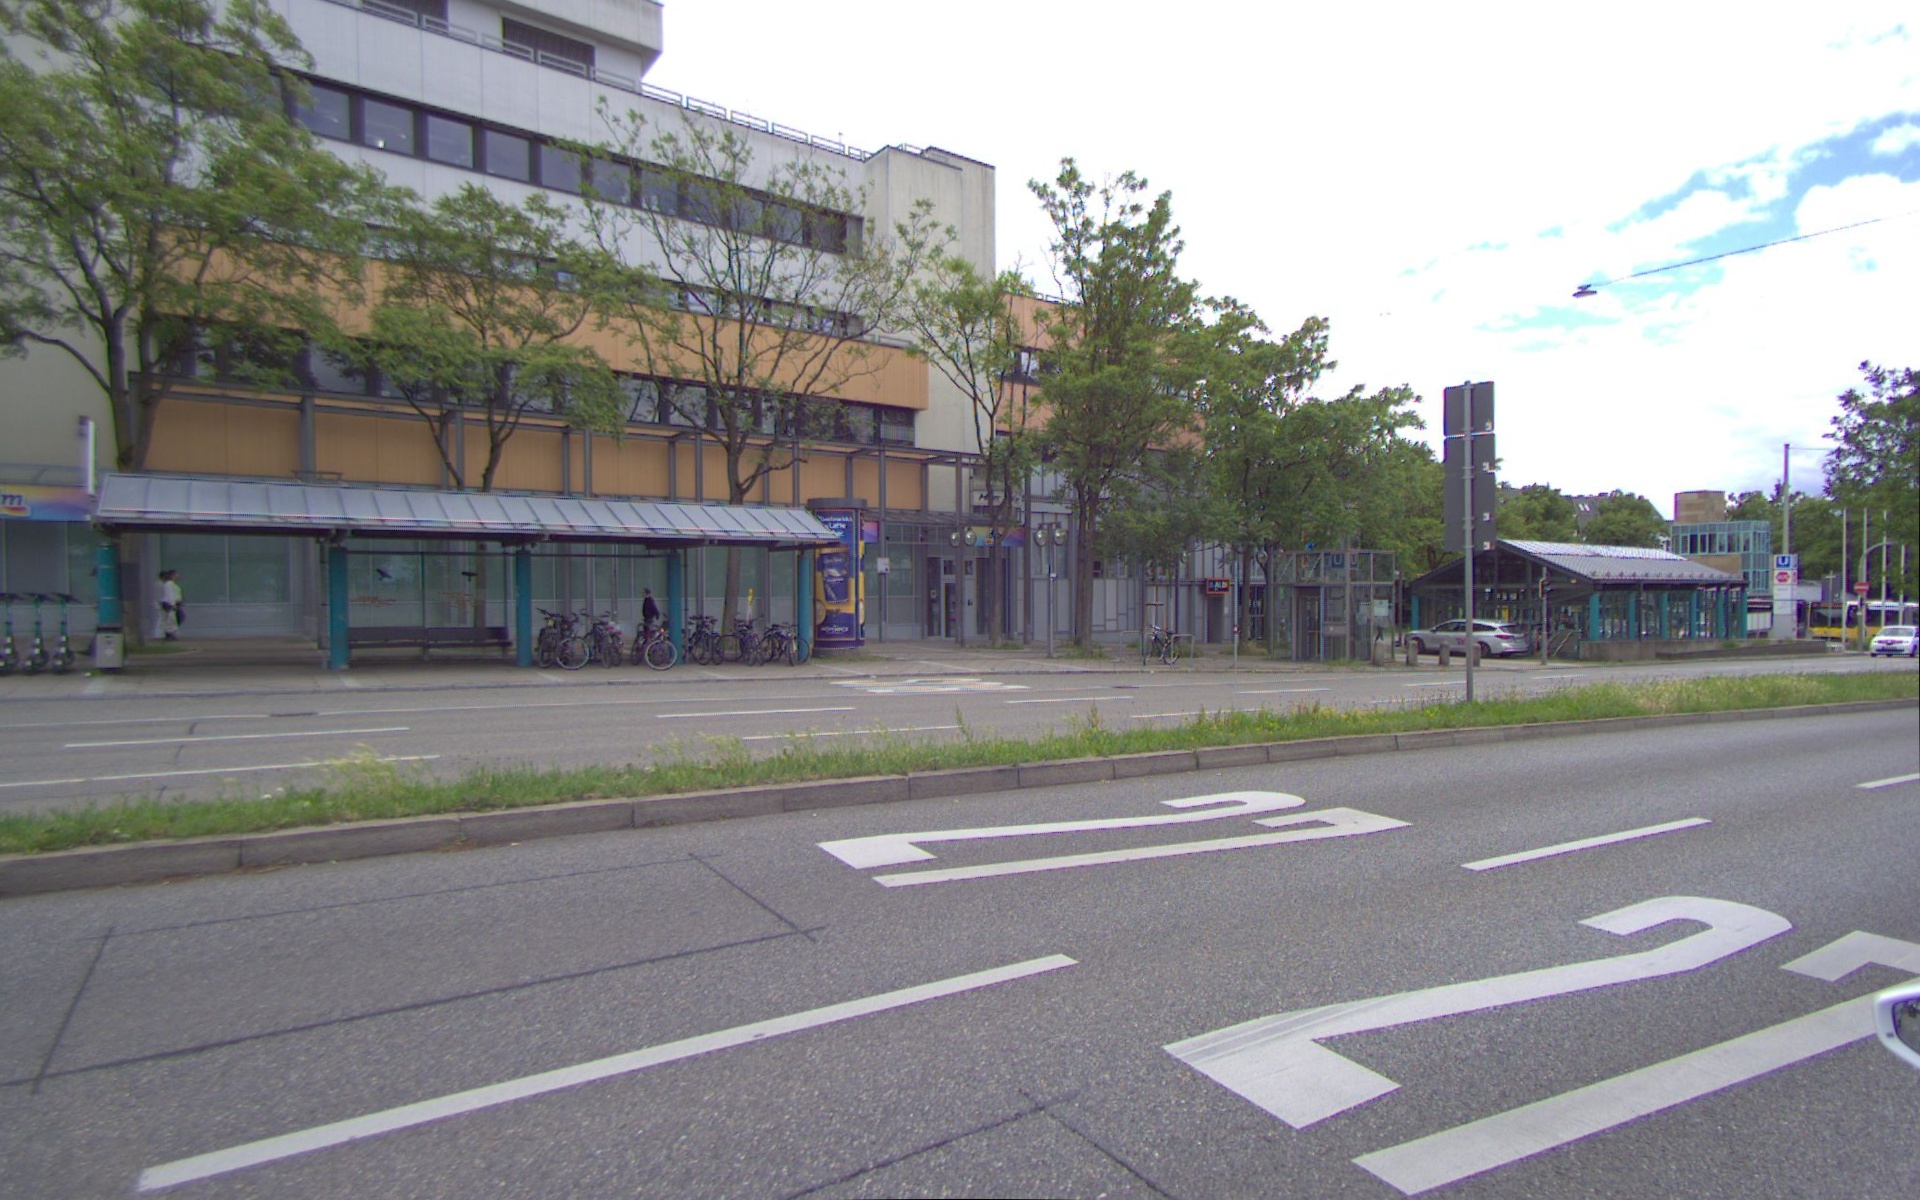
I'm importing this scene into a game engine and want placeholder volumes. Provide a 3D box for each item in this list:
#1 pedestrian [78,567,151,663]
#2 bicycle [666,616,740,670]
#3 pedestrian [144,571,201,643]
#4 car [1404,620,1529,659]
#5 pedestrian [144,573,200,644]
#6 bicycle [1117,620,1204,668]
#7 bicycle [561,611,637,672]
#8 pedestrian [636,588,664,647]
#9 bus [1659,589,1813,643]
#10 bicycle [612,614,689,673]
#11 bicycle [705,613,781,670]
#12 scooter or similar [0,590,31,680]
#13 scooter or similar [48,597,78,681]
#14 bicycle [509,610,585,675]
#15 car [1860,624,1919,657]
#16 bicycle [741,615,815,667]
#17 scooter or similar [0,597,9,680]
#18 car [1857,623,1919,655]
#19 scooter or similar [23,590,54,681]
[{"bbox_3d":[-16.228,0.287,19.303,0.987,1.805,0.728,1,0,-35],"label":"pedestrian"},{"bbox_3d":[-5.978,0.974,23.302,2.043,1.169,0.707,0,-1,44],"label":"bicycle"},{"bbox_3d":[-18.307,0.173,23.375,0.987,1.639,0.728,1,0,-35],"label":"pedestrian"},{"bbox_3d":[19.896,1.517,39.555,1.985,1.372,3.950,1,-1,-42],"label":"car"},{"bbox_3d":[-18.782,0.208,23.961,0.987,1.639,0.728,1,0,-35],"label":"pedestrian"},{"bbox_3d":[5.785,1.255,28.942,2.401,1.288,1.045,1,2,-35],"label":"bicycle"},{"bbox_3d":[-7.896,0.872,21.913,2.043,1.169,0.707,4,2,44],"label":"bicycle"},{"bbox_3d":[-8.922,0.499,28.891,0.667,1.665,0.529,1,-1,-30],"label":"pedestrian"},{"bbox_3d":[50.272,1.086,64.938,12.001,3.175,2.946,2,0,-27],"label":"bus"},{"bbox_3d":[-6.843,0.943,22.153,2.043,1.169,0.707,2,1,44],"label":"bicycle"},{"bbox_3d":[-5.194,0.968,23.943,2.043,1.169,0.707,5,3,44],"label":"bicycle"},{"bbox_3d":[-15.205,0.548,16.180,0.220,1.403,1.192,1,0,-37],"label":"scooter or similar"},{"bbox_3d":[-14.797,0.621,16.572,0.257,1.338,1.192,1,0,-37],"label":"scooter or similar"},{"bbox_3d":[-8.679,0.862,21.067,2.043,1.169,0.707,4,2,44],"label":"bicycle"},{"bbox_3d":[46.729,2.005,50.079,3.953,1.595,1.616,1,-1,-30],"label":"car"},{"bbox_3d":[-4.495,0.994,24.686,2.043,1.169,0.707,1,0,44],"label":"bicycle"},{"bbox_3d":[-15.392,0.604,15.977,0.266,1.312,1.118,1,0,-38],"label":"scooter or similar"},{"bbox_3d":[46.565,1.931,49.997,3.954,1.537,1.739,1,-3,-31],"label":"car"},{"bbox_3d":[-15.029,0.564,16.390,0.257,1.442,1.192,1,0,-37],"label":"scooter or similar"}]
